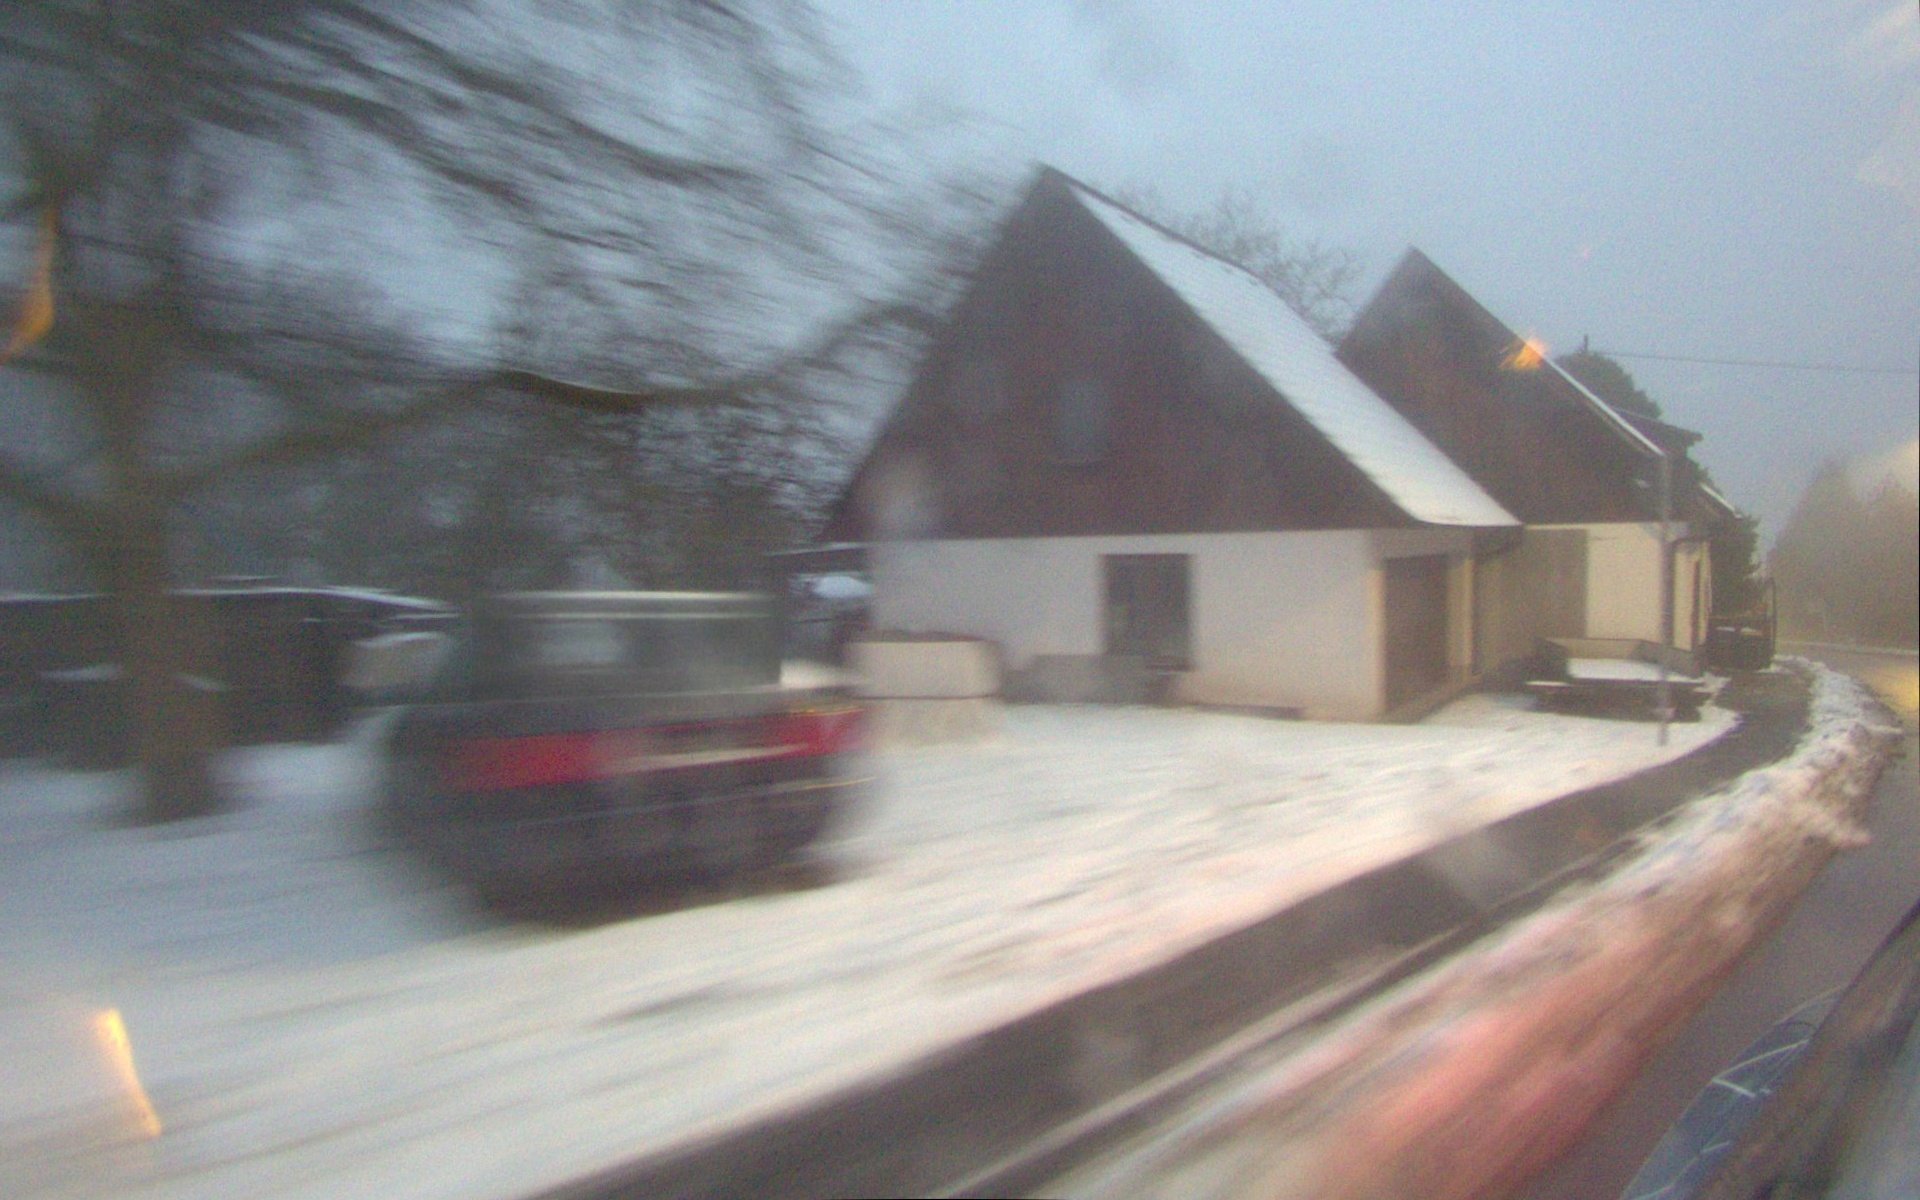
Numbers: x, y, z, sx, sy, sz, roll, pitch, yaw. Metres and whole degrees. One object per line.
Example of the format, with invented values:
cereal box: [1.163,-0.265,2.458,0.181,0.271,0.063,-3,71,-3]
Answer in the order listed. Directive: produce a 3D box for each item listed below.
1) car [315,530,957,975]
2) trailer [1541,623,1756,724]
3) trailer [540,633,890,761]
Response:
car: [-2.172,0.619,5.595,1.998,1.400,4.459,0,-4,-37]
trailer: [9.065,0.882,13.660,1.531,0.957,3.971,2,1,21]
trailer: [-2.897,0.966,11.539,3.870,1.105,2.209,-2,-1,45]
